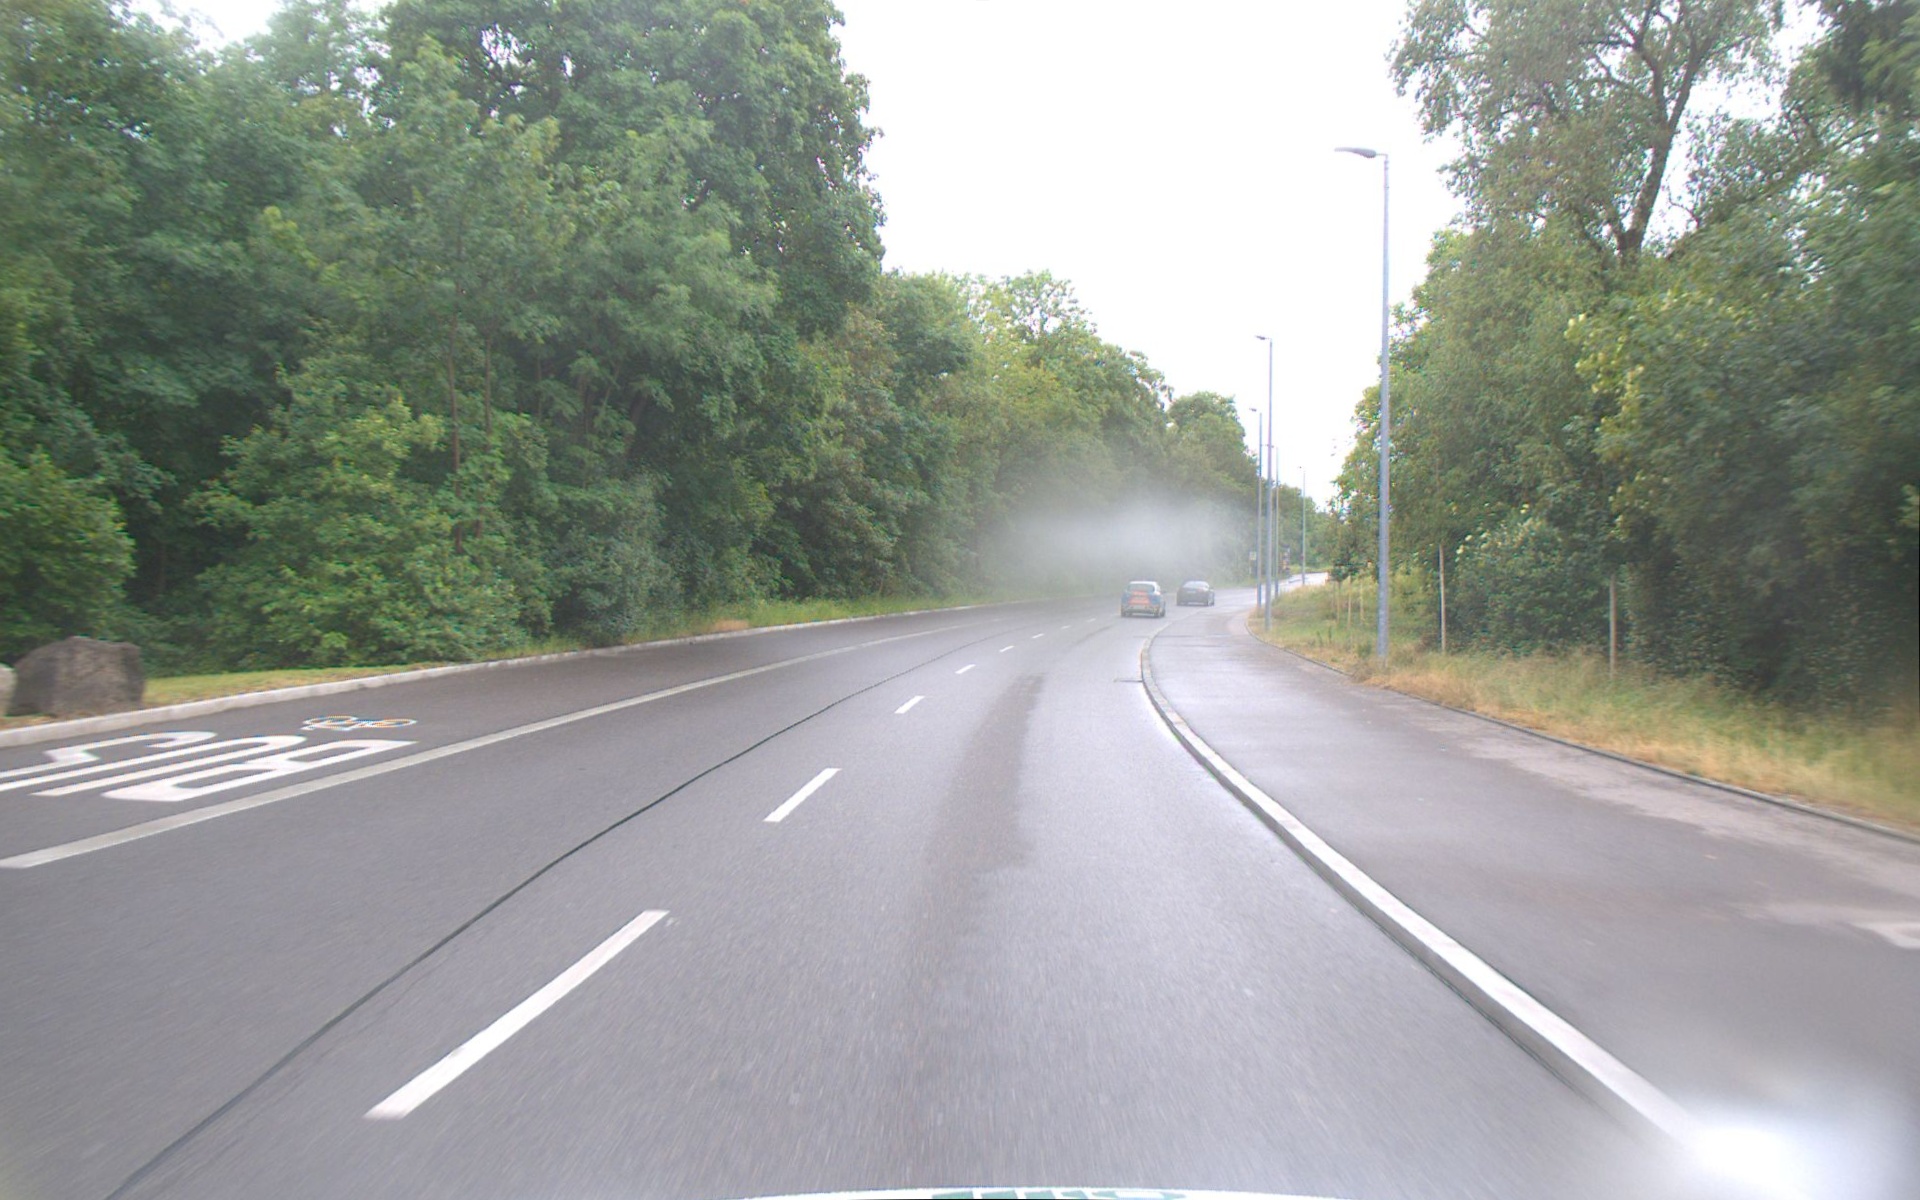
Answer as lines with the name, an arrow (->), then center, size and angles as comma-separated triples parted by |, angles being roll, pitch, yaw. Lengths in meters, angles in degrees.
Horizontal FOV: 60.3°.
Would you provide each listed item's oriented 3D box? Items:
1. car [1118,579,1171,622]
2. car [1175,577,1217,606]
car -> 8.214, 0.004, 73.243 | 1.951, 1.718, 4.004 | 0, 2, 12
car -> 13.550, -0.514, 94.855 | 1.886, 1.512, 3.803 | 0, 2, 16
